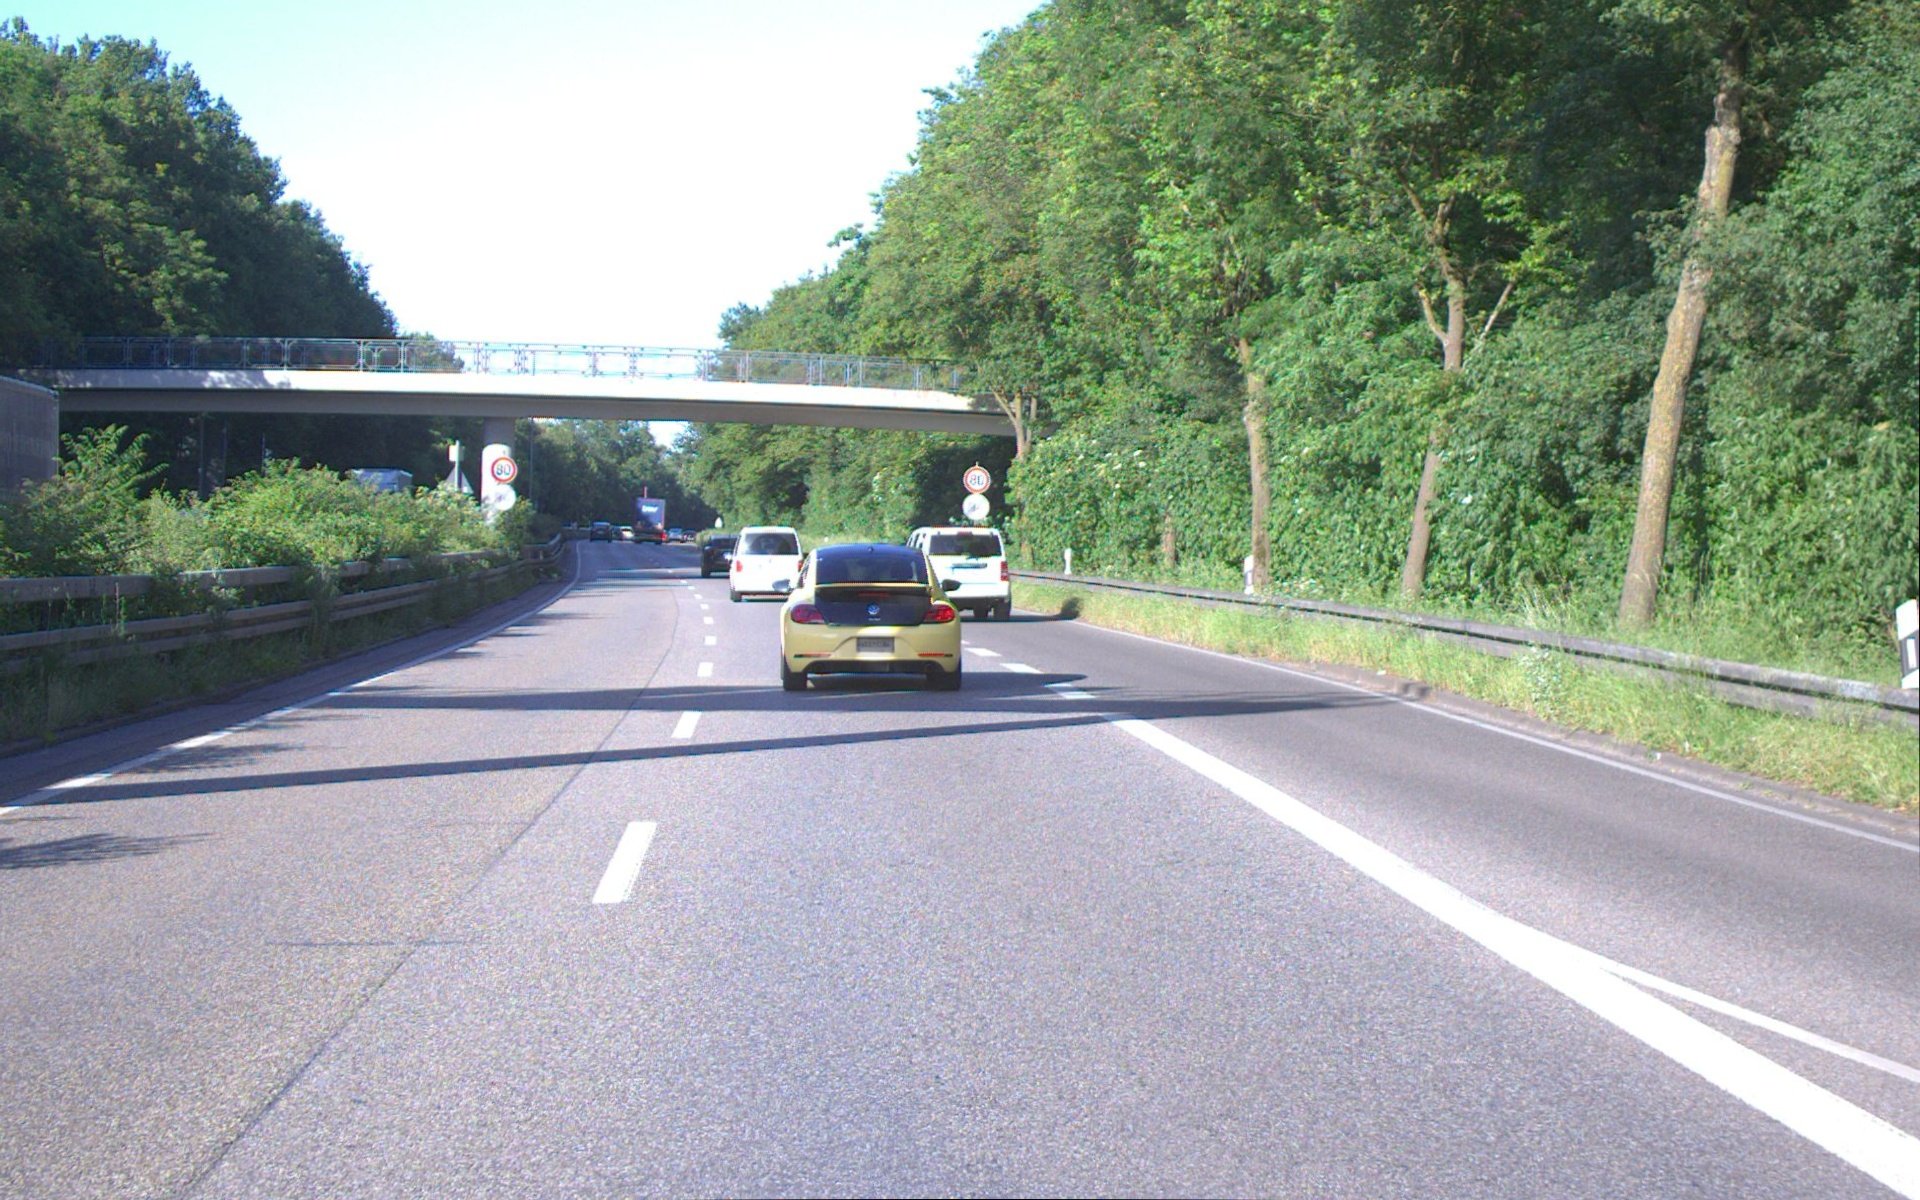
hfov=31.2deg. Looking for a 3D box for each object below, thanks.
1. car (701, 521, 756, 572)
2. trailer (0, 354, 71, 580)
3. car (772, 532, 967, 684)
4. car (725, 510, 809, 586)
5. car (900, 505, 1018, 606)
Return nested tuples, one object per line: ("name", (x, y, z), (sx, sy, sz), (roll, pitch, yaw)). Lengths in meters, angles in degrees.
("car", (-8.243, -1.915, 122.200), (1.897, 1.761, 4.001), (0, 1, -4))
("trailer", (-18.442, -2.392, 60.729), (2.738, 4.013, 14.077), (2, 1, -4))
("car", (-0.948, 0.039, 35.601), (1.897, 1.466, 4.000), (0, 1, -2))
("car", (-4.664, -1.255, 82.600), (1.897, 1.761, 4.001), (0, 1, -5))
("car", (-0.049, -0.850, 64.675), (1.897, 1.817, 4.001), (0, 1, -4))
